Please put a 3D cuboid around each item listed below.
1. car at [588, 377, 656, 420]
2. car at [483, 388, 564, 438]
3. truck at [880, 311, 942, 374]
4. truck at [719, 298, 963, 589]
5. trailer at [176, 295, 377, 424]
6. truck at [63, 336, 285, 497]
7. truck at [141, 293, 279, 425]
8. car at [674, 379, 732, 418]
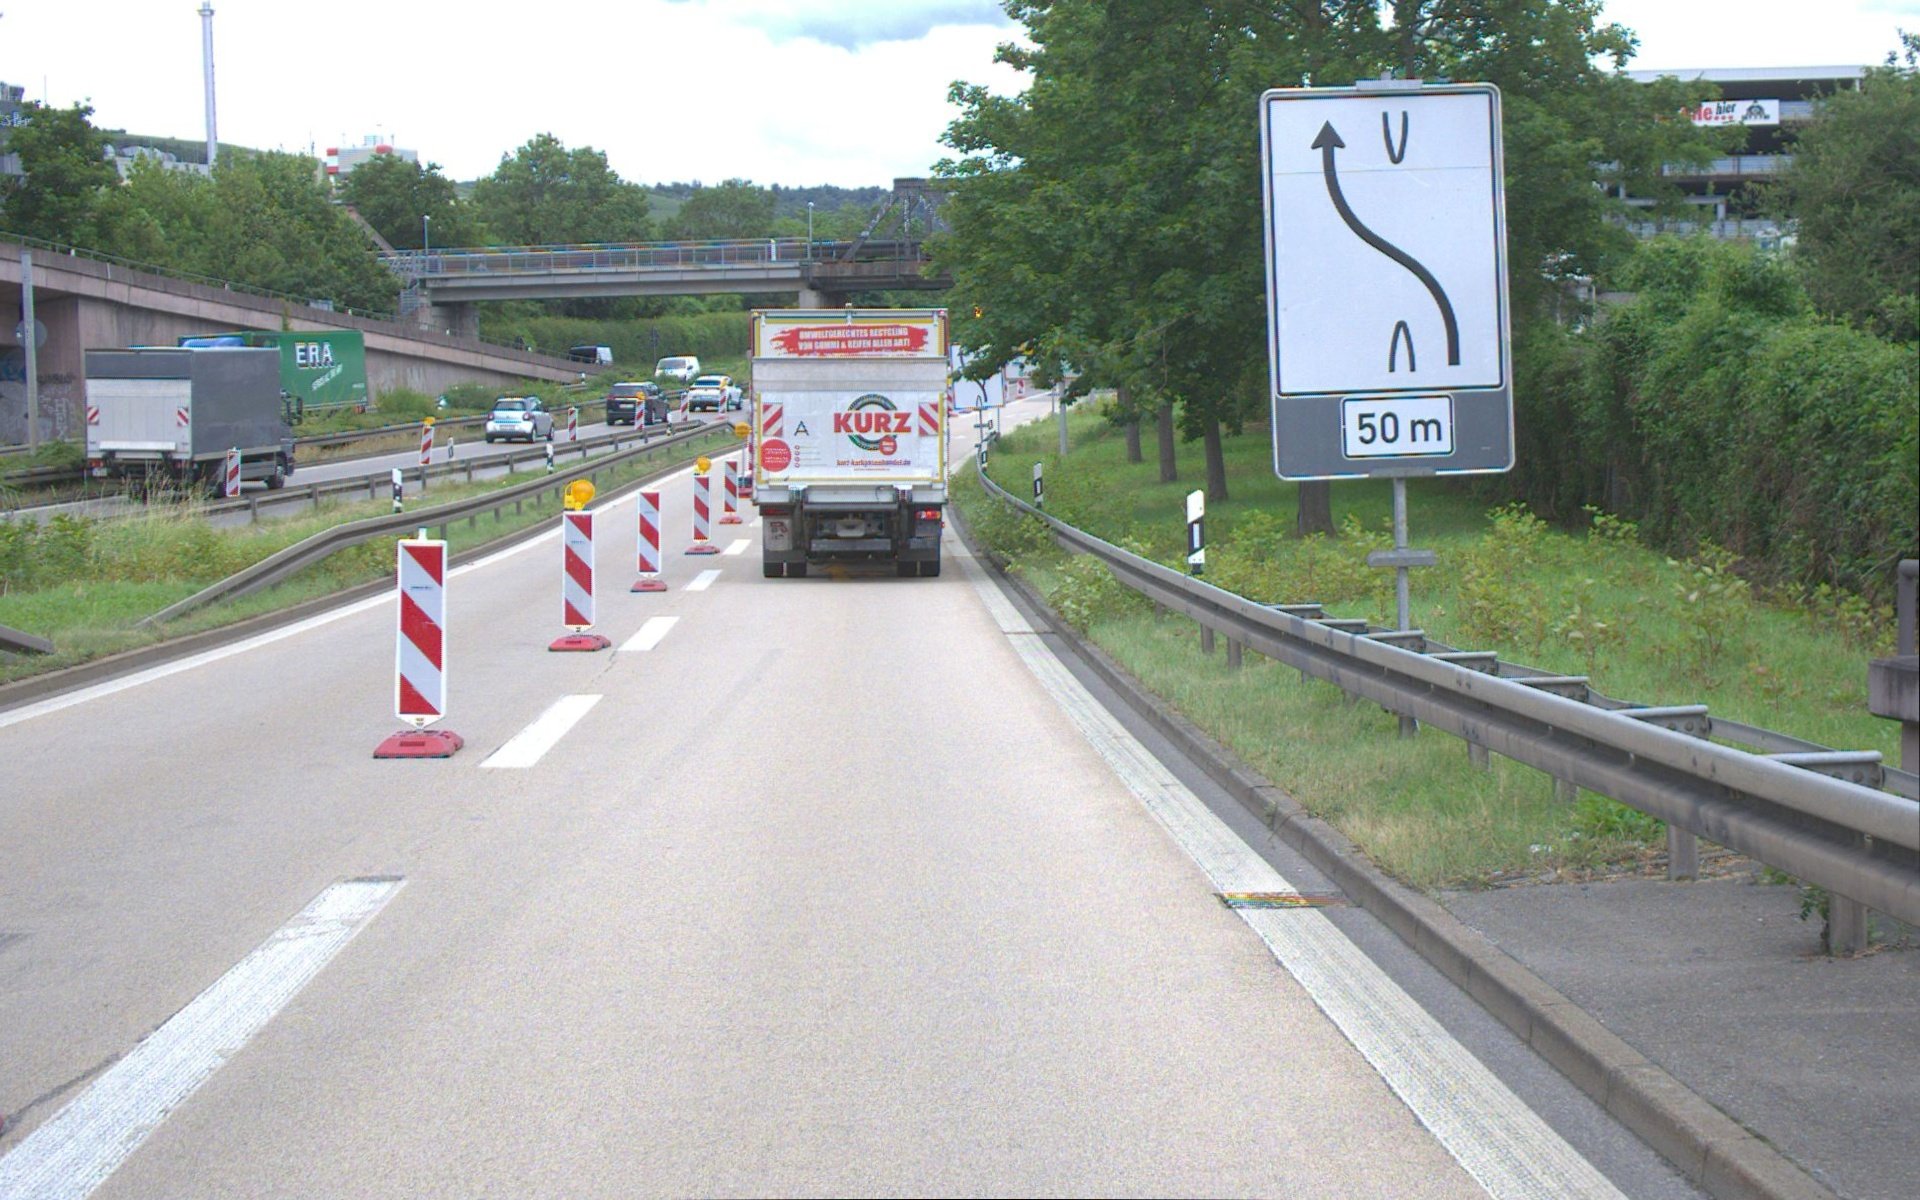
[{"bbox_3d":[-13.076,-7.812,133.199,1.994,1.612,4.001,0,4,3],"label":"car"},{"bbox_3d":[-14.765,-6.333,116.385,1.994,1.612,4.001,0,4,3],"label":"car"},{"bbox_3d":[-3.028,-16.031,214.498,3.287,3.838,7.665,0,4,3],"label":"truck"},{"bbox_3d":[-1.587,-2.181,47.661,3.051,3.660,7.929,-1,3,-1],"label":"truck"},{"bbox_3d":[-24.165,-8.564,122.556,2.772,4.278,13.979,0,4,7],"label":"trailer"},{"bbox_3d":[-18.603,-4.428,81.898,3.051,3.643,7.396,0,4,4],"label":"truck"},{"bbox_3d":[-25.067,-8.073,115.184,2.753,4.256,5.502,0,4,7],"label":"truck"},{"bbox_3d":[-11.108,-8.726,148.786,1.994,1.612,4.001,0,4,3],"label":"car"}]
